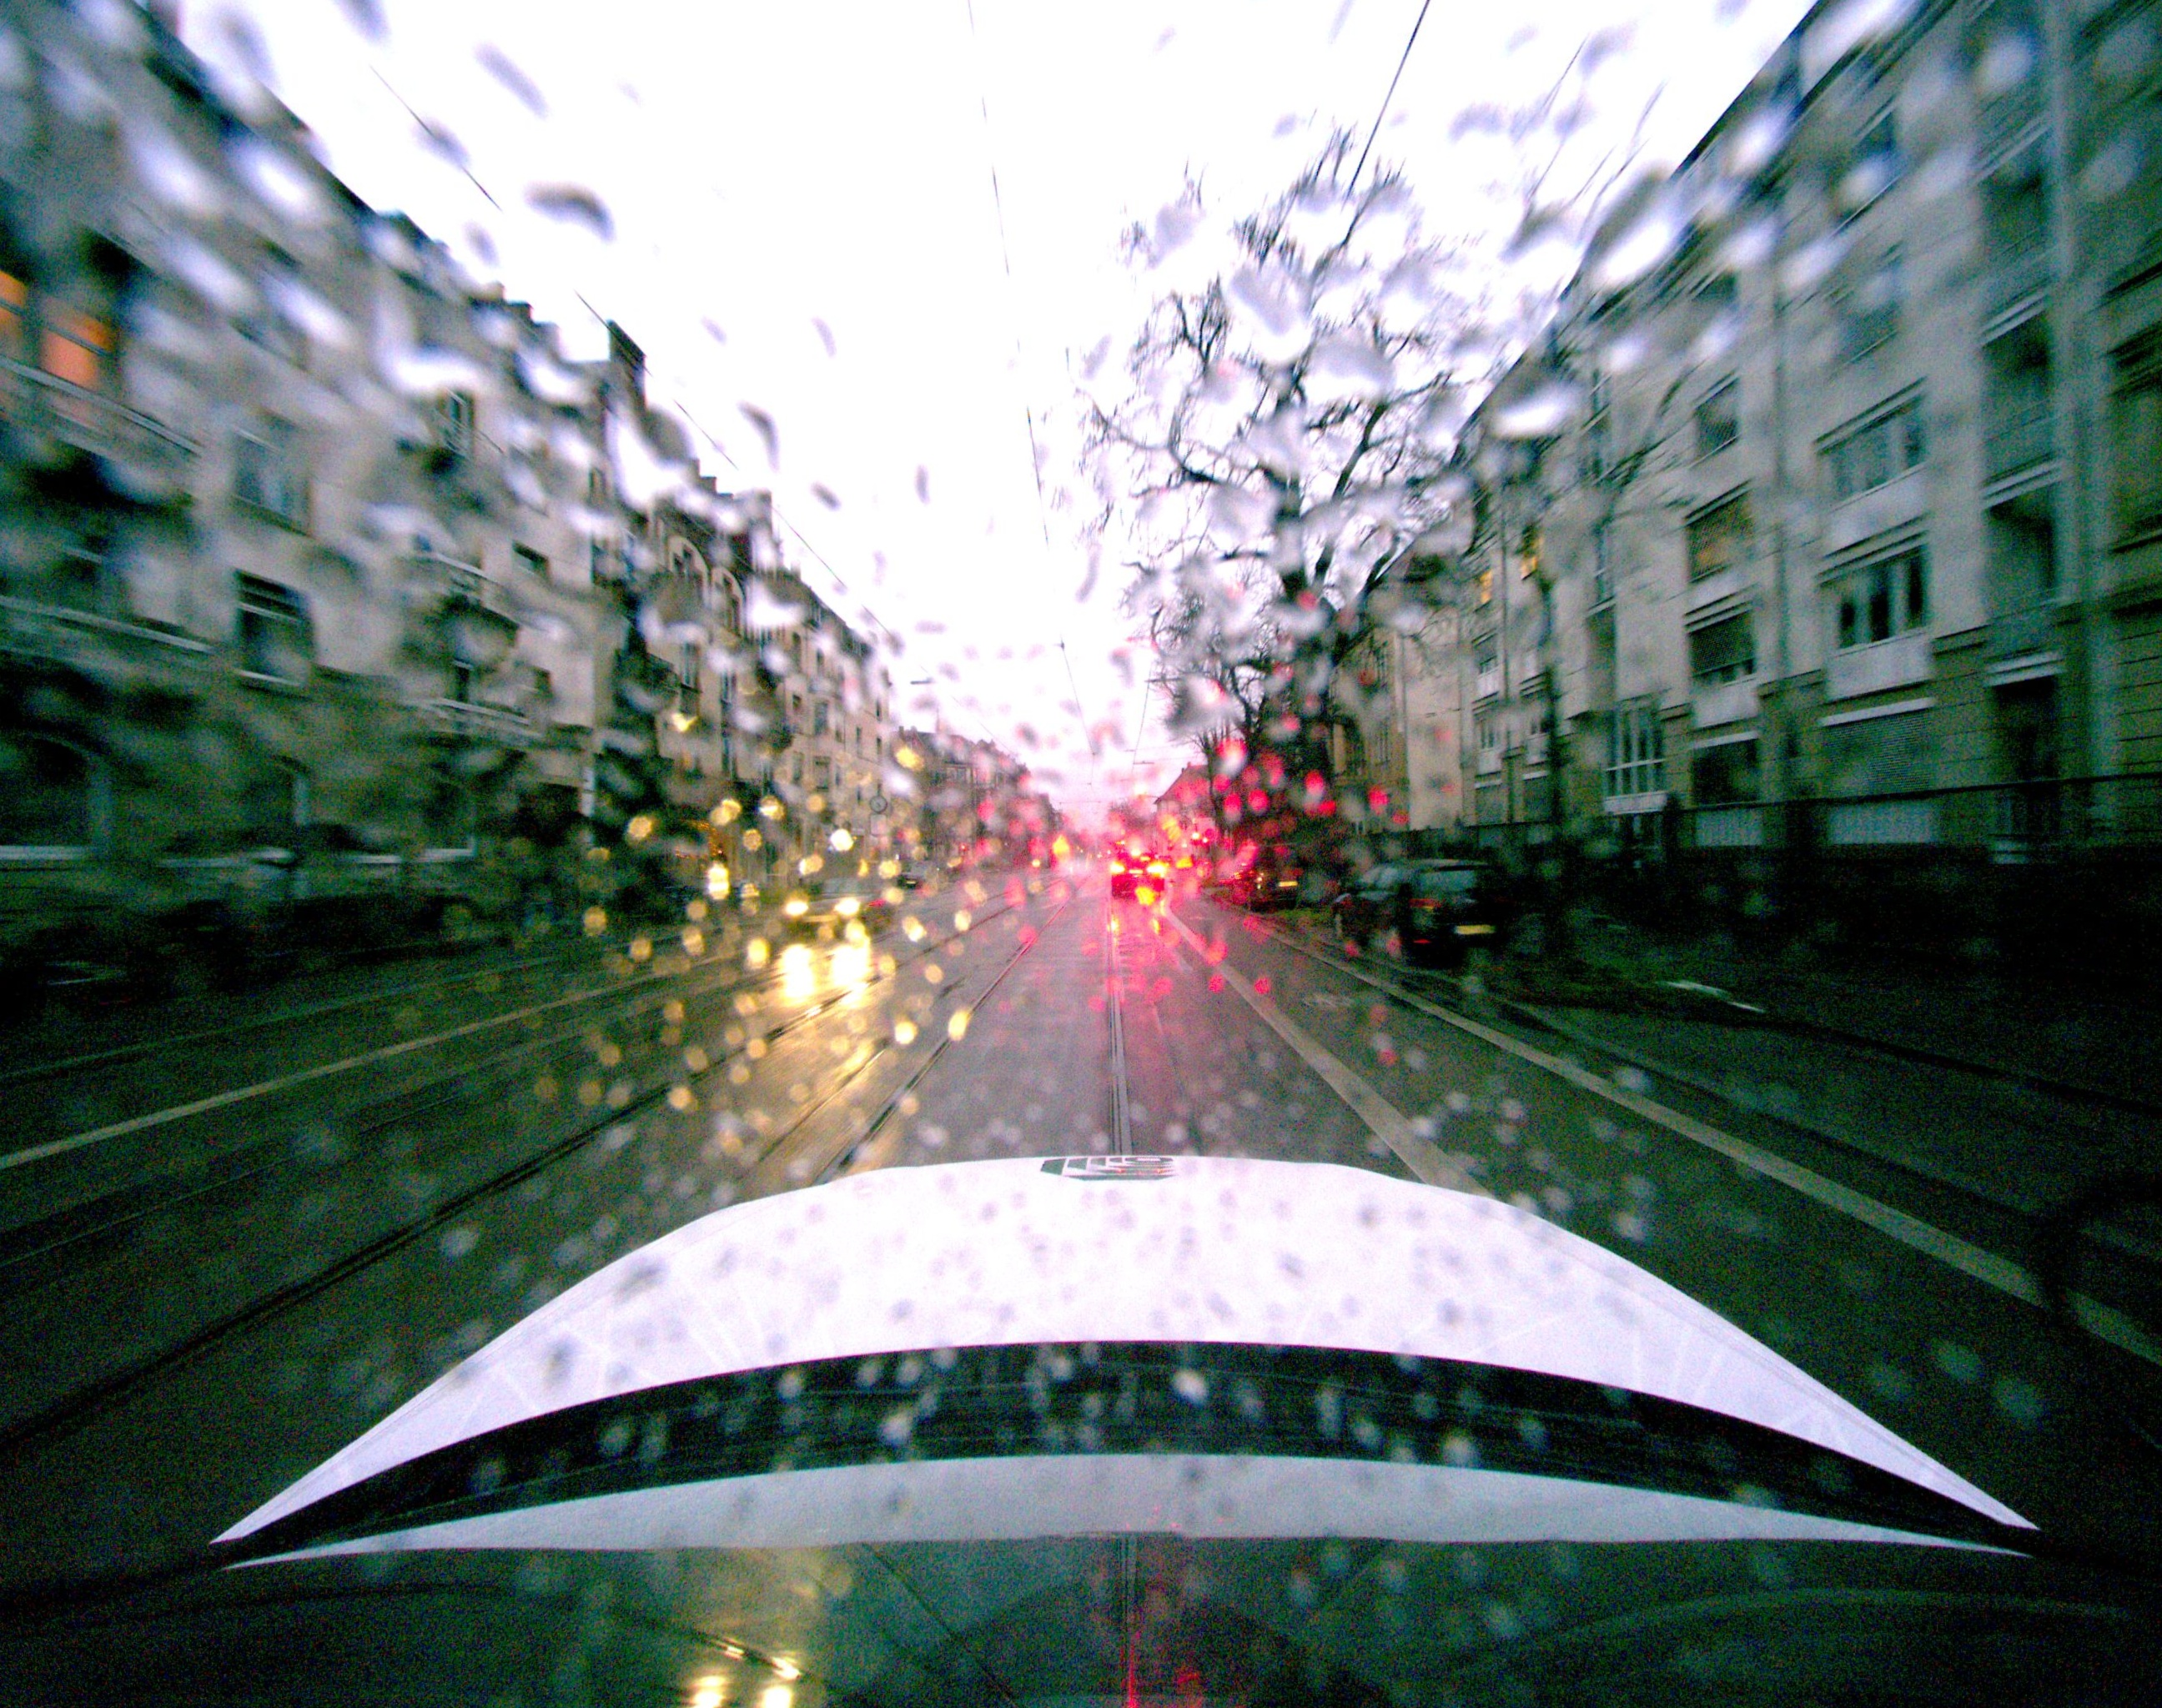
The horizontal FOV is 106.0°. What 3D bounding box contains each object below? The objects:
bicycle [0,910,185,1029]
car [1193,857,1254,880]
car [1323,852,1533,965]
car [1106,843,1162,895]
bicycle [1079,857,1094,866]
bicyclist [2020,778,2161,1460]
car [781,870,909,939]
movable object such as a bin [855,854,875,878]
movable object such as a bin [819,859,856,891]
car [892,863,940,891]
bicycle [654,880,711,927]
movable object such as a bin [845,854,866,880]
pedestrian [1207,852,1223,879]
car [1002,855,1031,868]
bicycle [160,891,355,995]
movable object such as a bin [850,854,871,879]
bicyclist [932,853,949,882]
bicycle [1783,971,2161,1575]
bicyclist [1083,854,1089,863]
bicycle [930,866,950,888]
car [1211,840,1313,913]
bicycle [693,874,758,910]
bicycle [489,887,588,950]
[{"bbox_3d":[-10.461,1.150,8.435,0.691,1.031,1.592,-2,-1,-7],"label":"bicycle"},{"bbox_3d":[12.436,1.238,71.164,4.958,1.717,1.687,-2,1,-18],"label":"car"},{"bbox_3d":[5.298,0.740,13.045,1.671,1.460,4.043,-2,0,1],"label":"car"},{"bbox_3d":[2.021,0.599,32.283,1.986,1.897,4.759,0,-1,1],"label":"car"},{"bbox_3d":[0.748,1.110,119.624,2.106,1.133,0.555,-2,0,-13],"label":"bicycle"},{"bbox_3d":[2.578,0.555,1.522,0.653,1.446,0.851,-2,0,5],"label":"bicyclist"},{"bbox_3d":[-5.105,1.038,18.113,1.655,1.198,3.874,-2,1,0],"label":"car"},{"bbox_3d":[-14.787,0.820,55.820,1.009,1.600,1.082,-2,0,4],"label":"movable object such as a bin"},{"bbox_3d":[-12.626,1.071,42.300,1.404,1.530,1.365,-2,0,1],"label":"movable object such as a bin"},{"bbox_3d":[-9.668,1.304,47.909,1.826,1.447,4.002,-2,1,2],"label":"car"},{"bbox_3d":[-10.321,1.252,21.143,0.613,1.080,1.809,-2,1,-3],"label":"bicycle"},{"bbox_3d":[-14.746,0.842,53.279,1.009,1.600,1.082,-2,0,4],"label":"movable object such as a bin"},{"bbox_3d":[10.386,0.891,63.330,1.019,2.013,0.919,-2,0,-2],"label":"pedestrian"},{"bbox_3d":[-9.346,1.061,118.063,3.983,1.717,1.899,-2,1,-7],"label":"car"},{"bbox_3d":[-10.425,1.077,10.427,0.484,1.099,1.931,-3,0,0],"label":"bicycle"},{"bbox_3d":[-14.768,0.840,54.535,1.009,1.600,1.156,-2,0,4],"label":"movable object such as a bin"},{"bbox_3d":[-7.937,0.769,45.939,0.714,1.602,0.931,-2,0,0],"label":"bicyclist"},{"bbox_3d":[2.595,0.953,1.643,0.704,1.096,2.032,-2,1,5],"label":"bicycle"},{"bbox_3d":[0.739,0.664,119.634,0.823,1.376,0.555,-2,0,-12],"label":"bicyclist"},{"bbox_3d":[-7.911,1.293,45.829,0.714,1.110,2.064,-2,1,0],"label":"bicycle"},{"bbox_3d":[5.297,0.586,24.525,1.986,1.900,5.028,-2,1,1],"label":"car"},{"bbox_3d":[-11.663,1.244,26.731,1.802,1.080,0.615,-2,0,-6],"label":"bicycle"},{"bbox_3d":[-10.259,1.184,15.480,0.623,1.017,1.805,-3,0,0],"label":"bicycle"}]
